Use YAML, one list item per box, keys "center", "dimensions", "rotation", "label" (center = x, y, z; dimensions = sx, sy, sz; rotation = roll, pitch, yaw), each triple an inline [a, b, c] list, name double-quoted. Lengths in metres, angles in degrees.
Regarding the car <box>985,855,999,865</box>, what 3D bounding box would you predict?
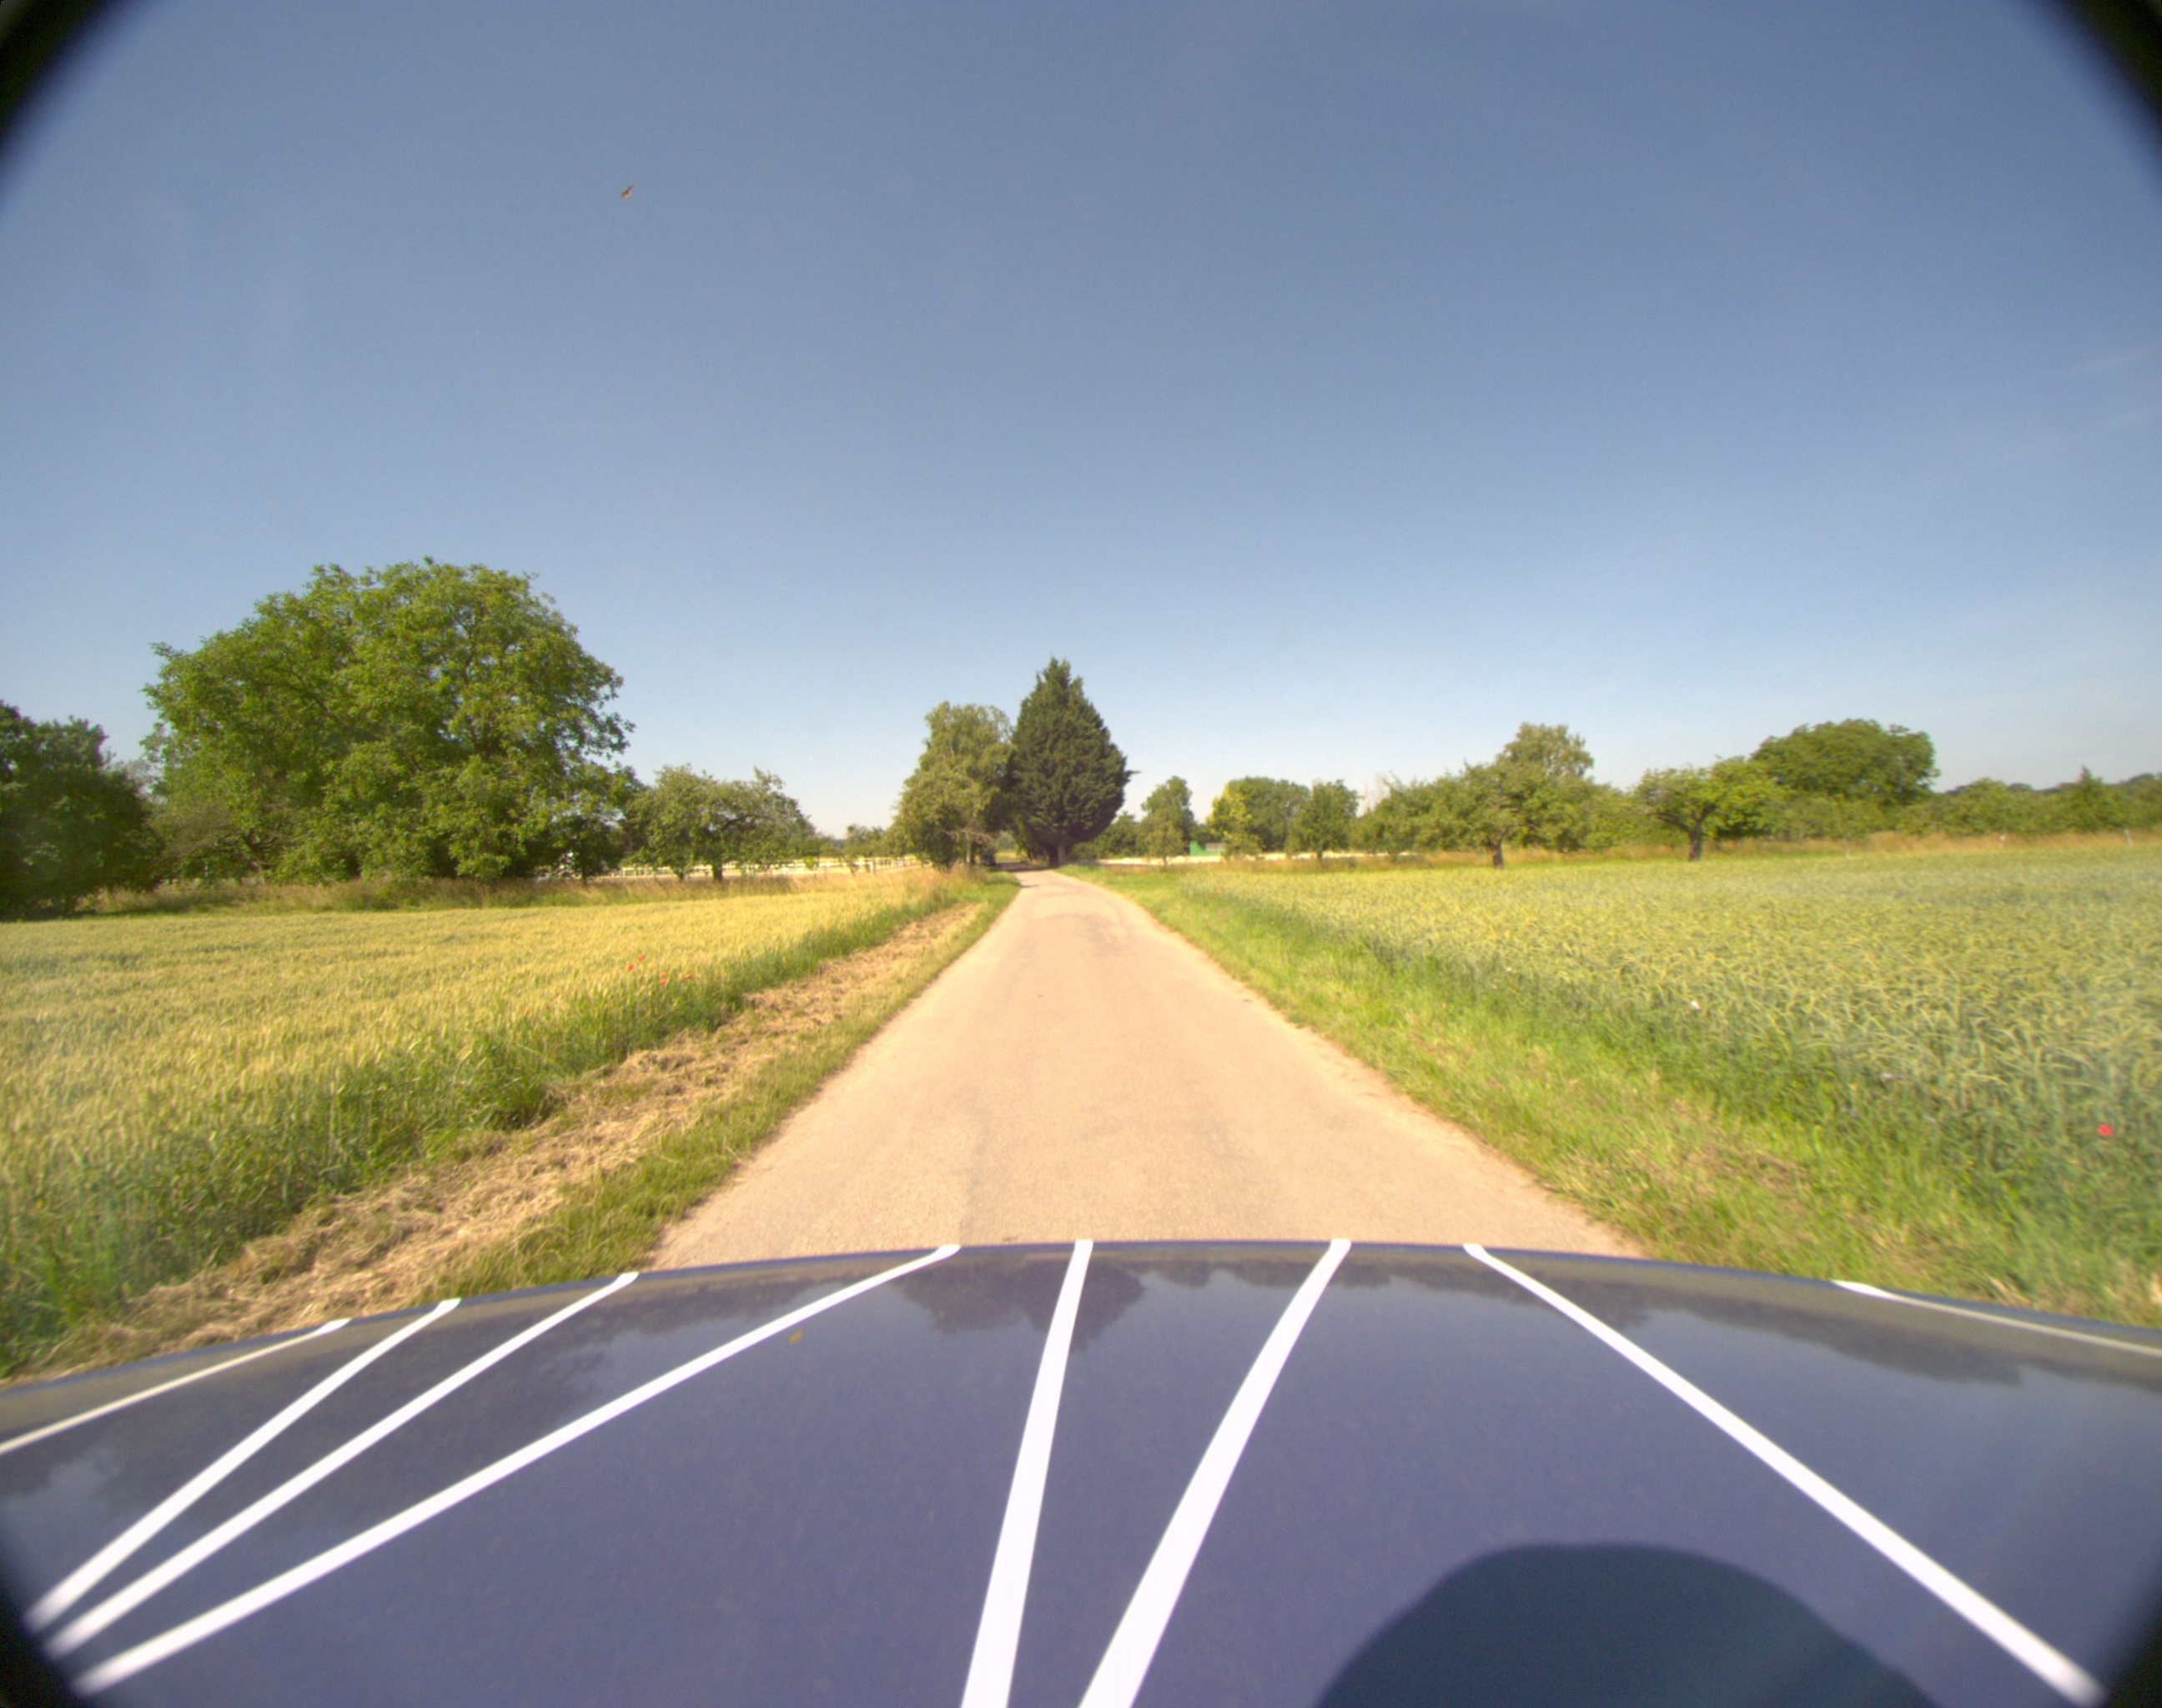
- center: [-11.788, 0.761, 100.302]
  dimensions: [1.723, 1.312, 3.740]
  rotation: [-2, 0, -9]
  label: "car"
